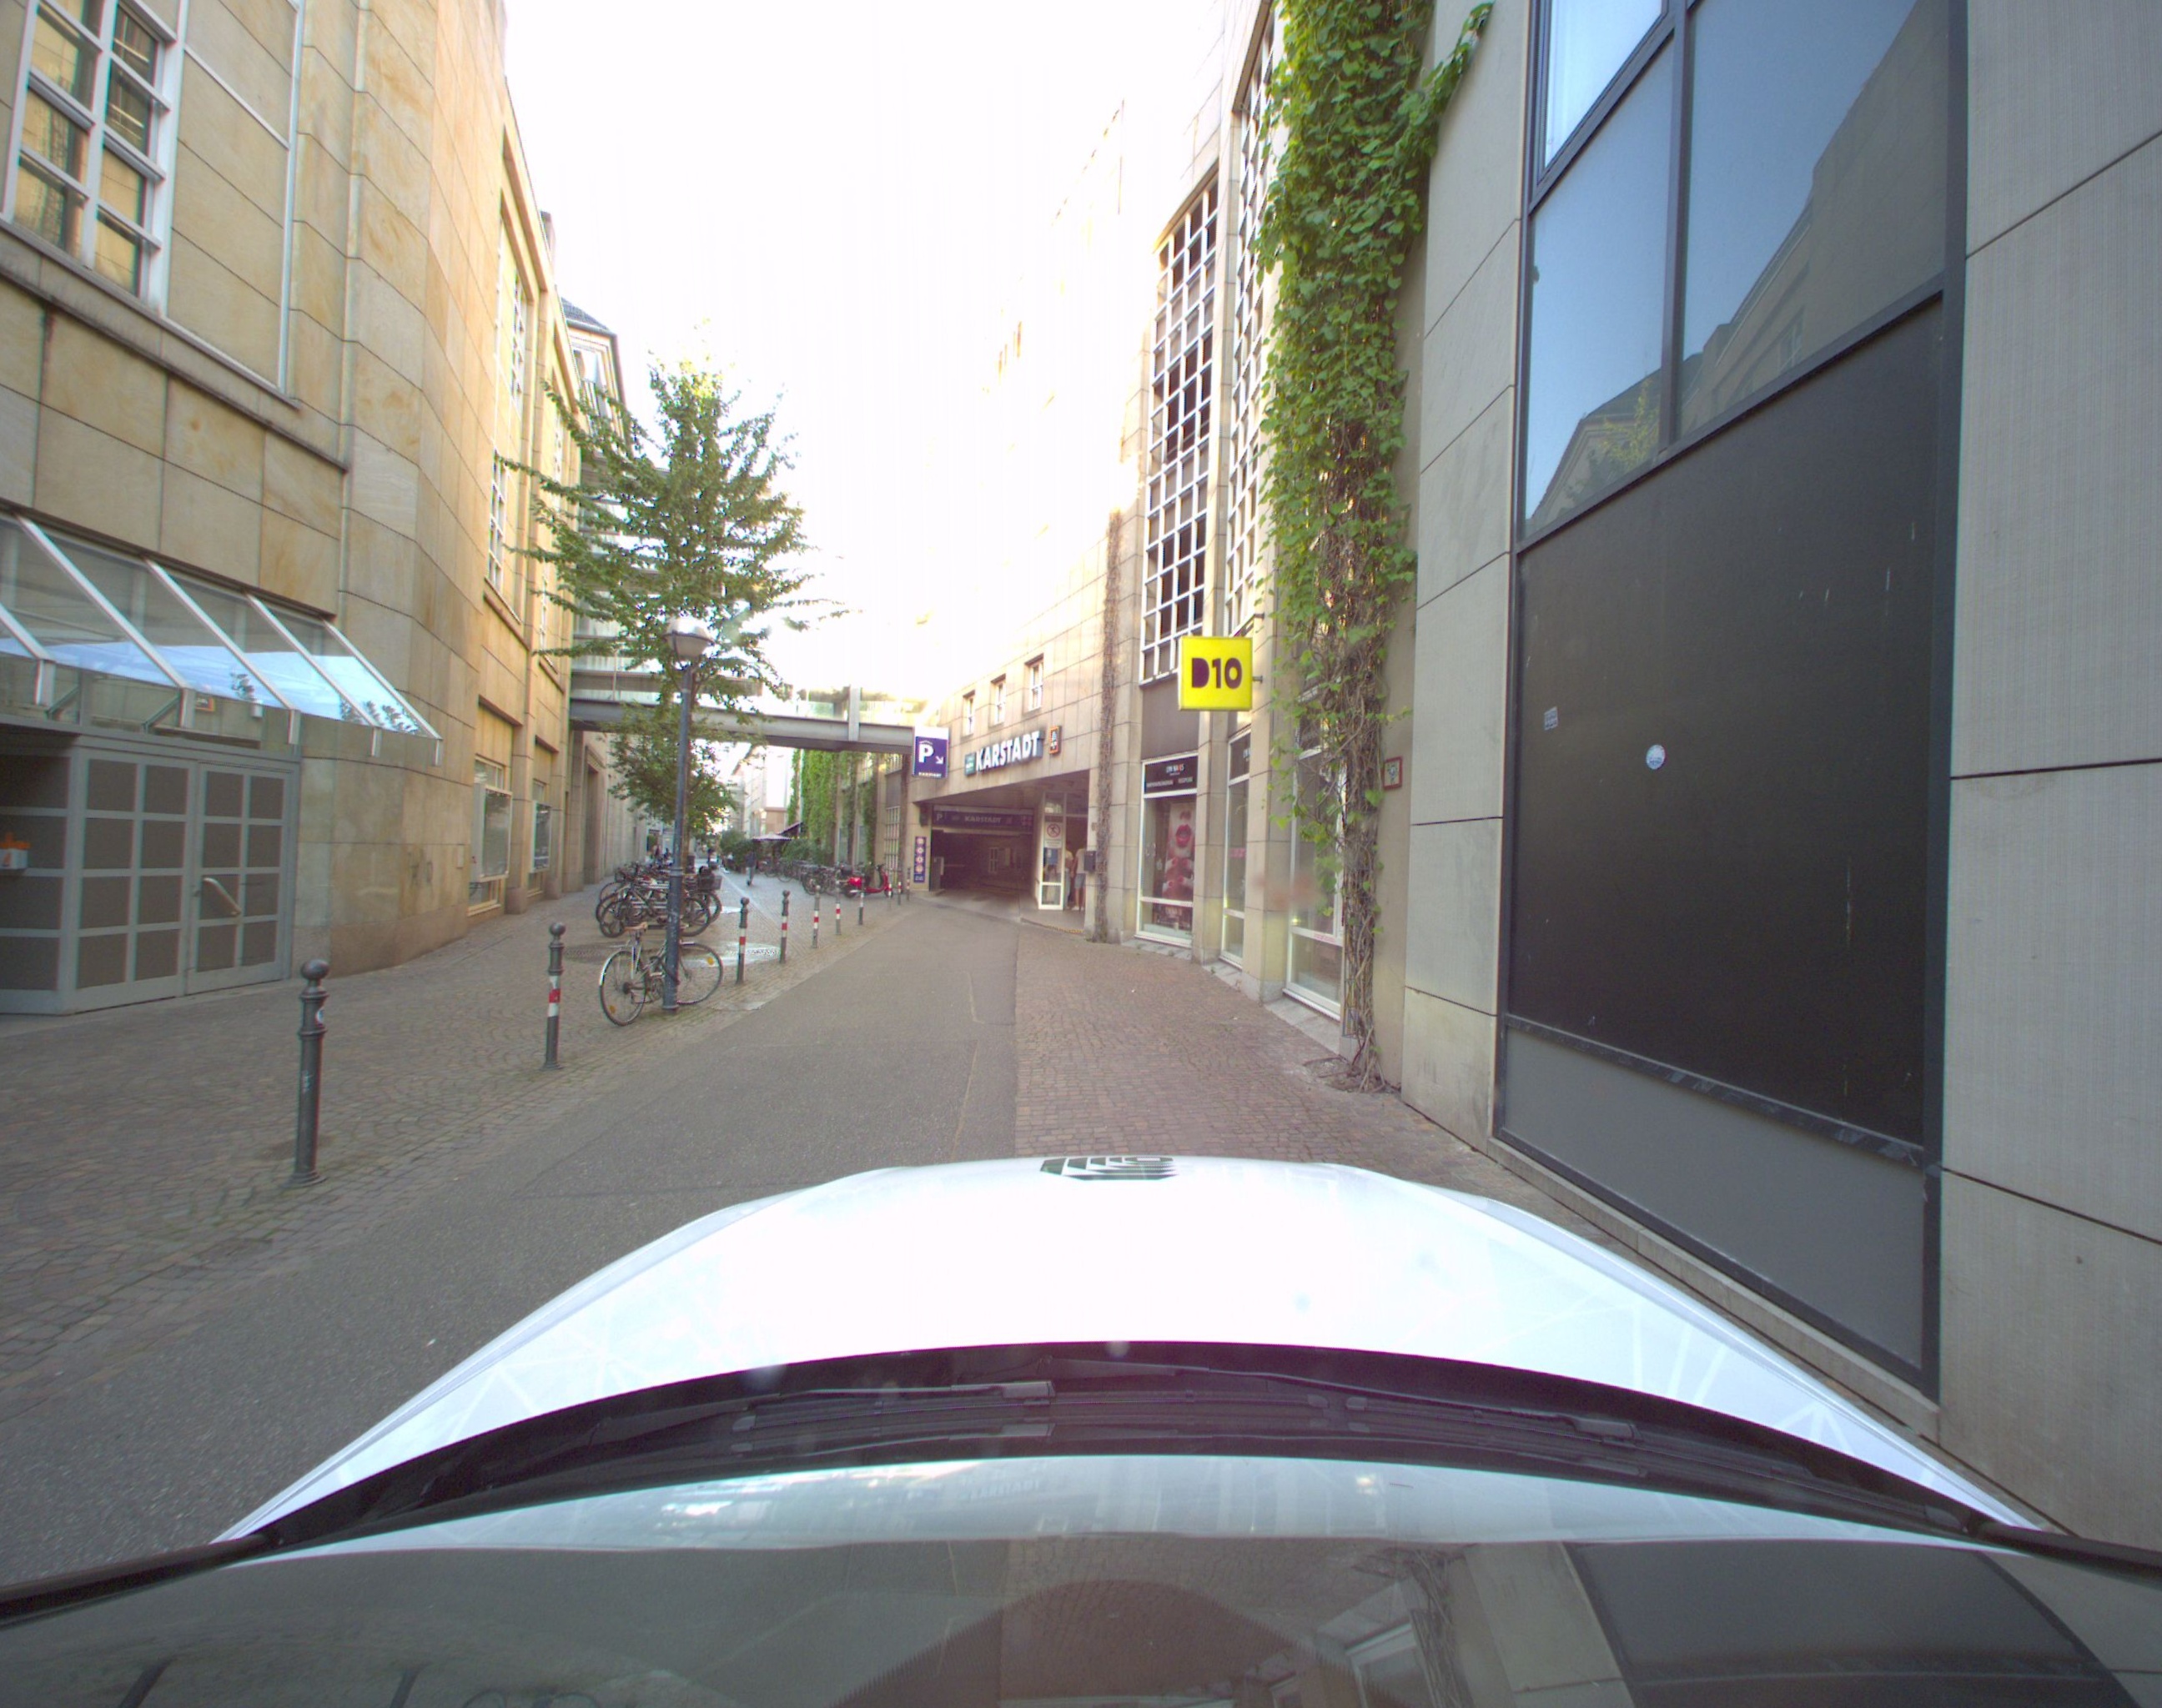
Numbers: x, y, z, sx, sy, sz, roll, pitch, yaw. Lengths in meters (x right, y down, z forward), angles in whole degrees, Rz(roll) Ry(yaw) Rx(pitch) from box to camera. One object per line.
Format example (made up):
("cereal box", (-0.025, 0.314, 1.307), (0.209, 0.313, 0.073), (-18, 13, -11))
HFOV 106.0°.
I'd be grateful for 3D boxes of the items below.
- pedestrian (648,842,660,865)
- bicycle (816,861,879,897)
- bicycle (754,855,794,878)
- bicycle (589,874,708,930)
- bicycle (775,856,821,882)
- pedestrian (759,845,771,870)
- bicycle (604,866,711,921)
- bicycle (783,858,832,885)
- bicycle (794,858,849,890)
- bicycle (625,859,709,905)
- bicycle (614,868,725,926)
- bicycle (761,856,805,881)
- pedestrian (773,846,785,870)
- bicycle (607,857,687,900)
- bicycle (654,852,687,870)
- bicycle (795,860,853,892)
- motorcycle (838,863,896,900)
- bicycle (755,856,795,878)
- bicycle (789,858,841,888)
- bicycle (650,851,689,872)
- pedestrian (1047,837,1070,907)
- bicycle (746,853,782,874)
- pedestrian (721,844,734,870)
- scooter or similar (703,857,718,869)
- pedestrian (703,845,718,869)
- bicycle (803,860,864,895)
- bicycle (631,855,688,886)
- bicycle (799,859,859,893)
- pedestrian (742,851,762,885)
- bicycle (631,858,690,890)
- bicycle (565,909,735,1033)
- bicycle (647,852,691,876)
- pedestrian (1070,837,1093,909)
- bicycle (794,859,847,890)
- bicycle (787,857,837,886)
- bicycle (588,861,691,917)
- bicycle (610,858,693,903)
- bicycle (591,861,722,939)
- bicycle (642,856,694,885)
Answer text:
("pedestrian", (-33.898, -0.009, 64.677), (0.778, 1.804, 0.629), (1, -1, -24))
("bicycle", (-8.006, 0.830, 27.883), (2.003, 1.182, 0.690), (0, 0, -24))
("bicycle", (-16.735, 0.669, 44.453), (2.003, 1.182, 0.688), (0, 0, -24))
("bicycle", (-8.117, 0.893, 15.380), (1.922, 0.994, 0.690), (2, 0, -25))
("bicycle", (-13.318, 0.696, 38.282), (2.003, 1.182, 0.688), (0, 0, -24))
("pedestrian", (-23.764, 0.247, 61.166), (0.778, 1.804, 0.761), (2, -1, -24))
("bicycle", (-9.010, 0.841, 17.408), (1.920, 1.101, 0.691), (2, 0, -22))
("bicycle", (-12.082, 0.759, 36.032), (2.003, 1.182, 0.688), (0, 0, -24))
("bicycle", (-10.209, 0.778, 32.016), (2.003, 1.182, 0.796), (0, 0, -24))
("bicycle", (-11.061, 0.753, 21.822), (1.920, 1.182, 0.691), (2, -1, -22))
("bicycle", (-8.186, 0.848, 16.296), (1.922, 1.101, 0.690), (2, 0, -25))
("bicycle", (-14.632, 0.686, 39.979), (2.003, 1.182, 0.688), (0, 0, -24))
("pedestrian", (-22.758, 0.276, 61.299), (0.778, 1.804, 0.761), (2, -1, -24))
("bicycle", (-12.474, 0.714, 23.475), (1.920, 1.182, 0.691), (2, -1, -22))
("bicycle", (-28.046, 0.481, 55.639), (1.920, 1.182, 0.691), (2, -1, -22))
("bicycle", (-9.658, 0.811, 30.609), (2.003, 1.182, 0.796), (0, 0, -24))
("motorcycle", (-6.912, 0.870, 26.306), (1.753, 1.155, 0.590), (0, 0, -22))
("bicycle", (-16.398, 0.688, 43.672), (2.003, 1.182, 0.688), (0, 0, -24))
("bicycle", (-11.038, 0.774, 33.813), (2.003, 1.182, 0.688), (0, 0, -24))
("bicycle", (-23.477, 0.429, 46.497), (1.920, 1.182, 0.691), (2, -1, -22))
("pedestrian", (-0.588, 0.475, 21.761), (0.540, 1.846, 0.408), (2, 0, 1))
("bicycle", (-18.965, 0.553, 48.744), (2.003, 1.182, 0.688), (0, 0, -24))
("pedestrian", (-24.557, 0.226, 56.524), (0.769, 1.804, 0.770), (1, -1, -26))
("scooter or similar", (-25.430, 0.607, 55.821), (0.896, 0.843, 0.904), (1, 0, -26))
("pedestrian", (-25.757, 0.219, 56.642), (0.896, 1.639, 0.904), (1, -1, -26))
("bicycle", (-8.713, 0.812, 28.678), (2.003, 1.182, 0.690), (0, 0, -24))
("bicycle", (-16.692, 0.653, 32.304), (1.920, 1.182, 0.691), (2, -1, -22))
("bicycle", (-9.120, 0.791, 29.523), (2.003, 1.182, 0.796), (0, 0, -24))
("pedestrian", (-14.568, 0.624, 36.055), (0.752, 1.509, 0.632), (1, -1, -27))
("bicycle", (-16.271, 0.759, 31.533), (1.920, 1.182, 0.691), (2, -1, -22))
("bicycle", (-4.133, 1.075, 7.973), (0.502, 0.966, 1.699), (1, 0, 10))
("bicycle", (-21.529, 0.531, 42.581), (1.920, 1.182, 0.691), (2, -1, -22))
("pedestrian", (0.015, 0.495, 21.580), (0.540, 1.861, 0.408), (2, 0, 1))
("bicycle", (-10.544, 0.814, 32.974), (2.003, 1.182, 0.688), (0, 0, -24))
("bicycle", (-11.555, 0.744, 35.005), (2.003, 1.182, 0.688), (0, 0, -24))
("bicycle", (-9.843, 0.782, 18.233), (1.920, 1.182, 0.691), (2, -1, -22))
("bicycle", (-11.829, 0.732, 22.491), (1.920, 1.182, 0.691), (2, -1, -22))
("bicycle", (-7.267, 0.774, 14.044), (1.922, 1.261, 0.802), (2, 0, -25))
("bicycle", (-17.753, 0.713, 35.049), (1.920, 1.182, 0.691), (2, -1, -22))
